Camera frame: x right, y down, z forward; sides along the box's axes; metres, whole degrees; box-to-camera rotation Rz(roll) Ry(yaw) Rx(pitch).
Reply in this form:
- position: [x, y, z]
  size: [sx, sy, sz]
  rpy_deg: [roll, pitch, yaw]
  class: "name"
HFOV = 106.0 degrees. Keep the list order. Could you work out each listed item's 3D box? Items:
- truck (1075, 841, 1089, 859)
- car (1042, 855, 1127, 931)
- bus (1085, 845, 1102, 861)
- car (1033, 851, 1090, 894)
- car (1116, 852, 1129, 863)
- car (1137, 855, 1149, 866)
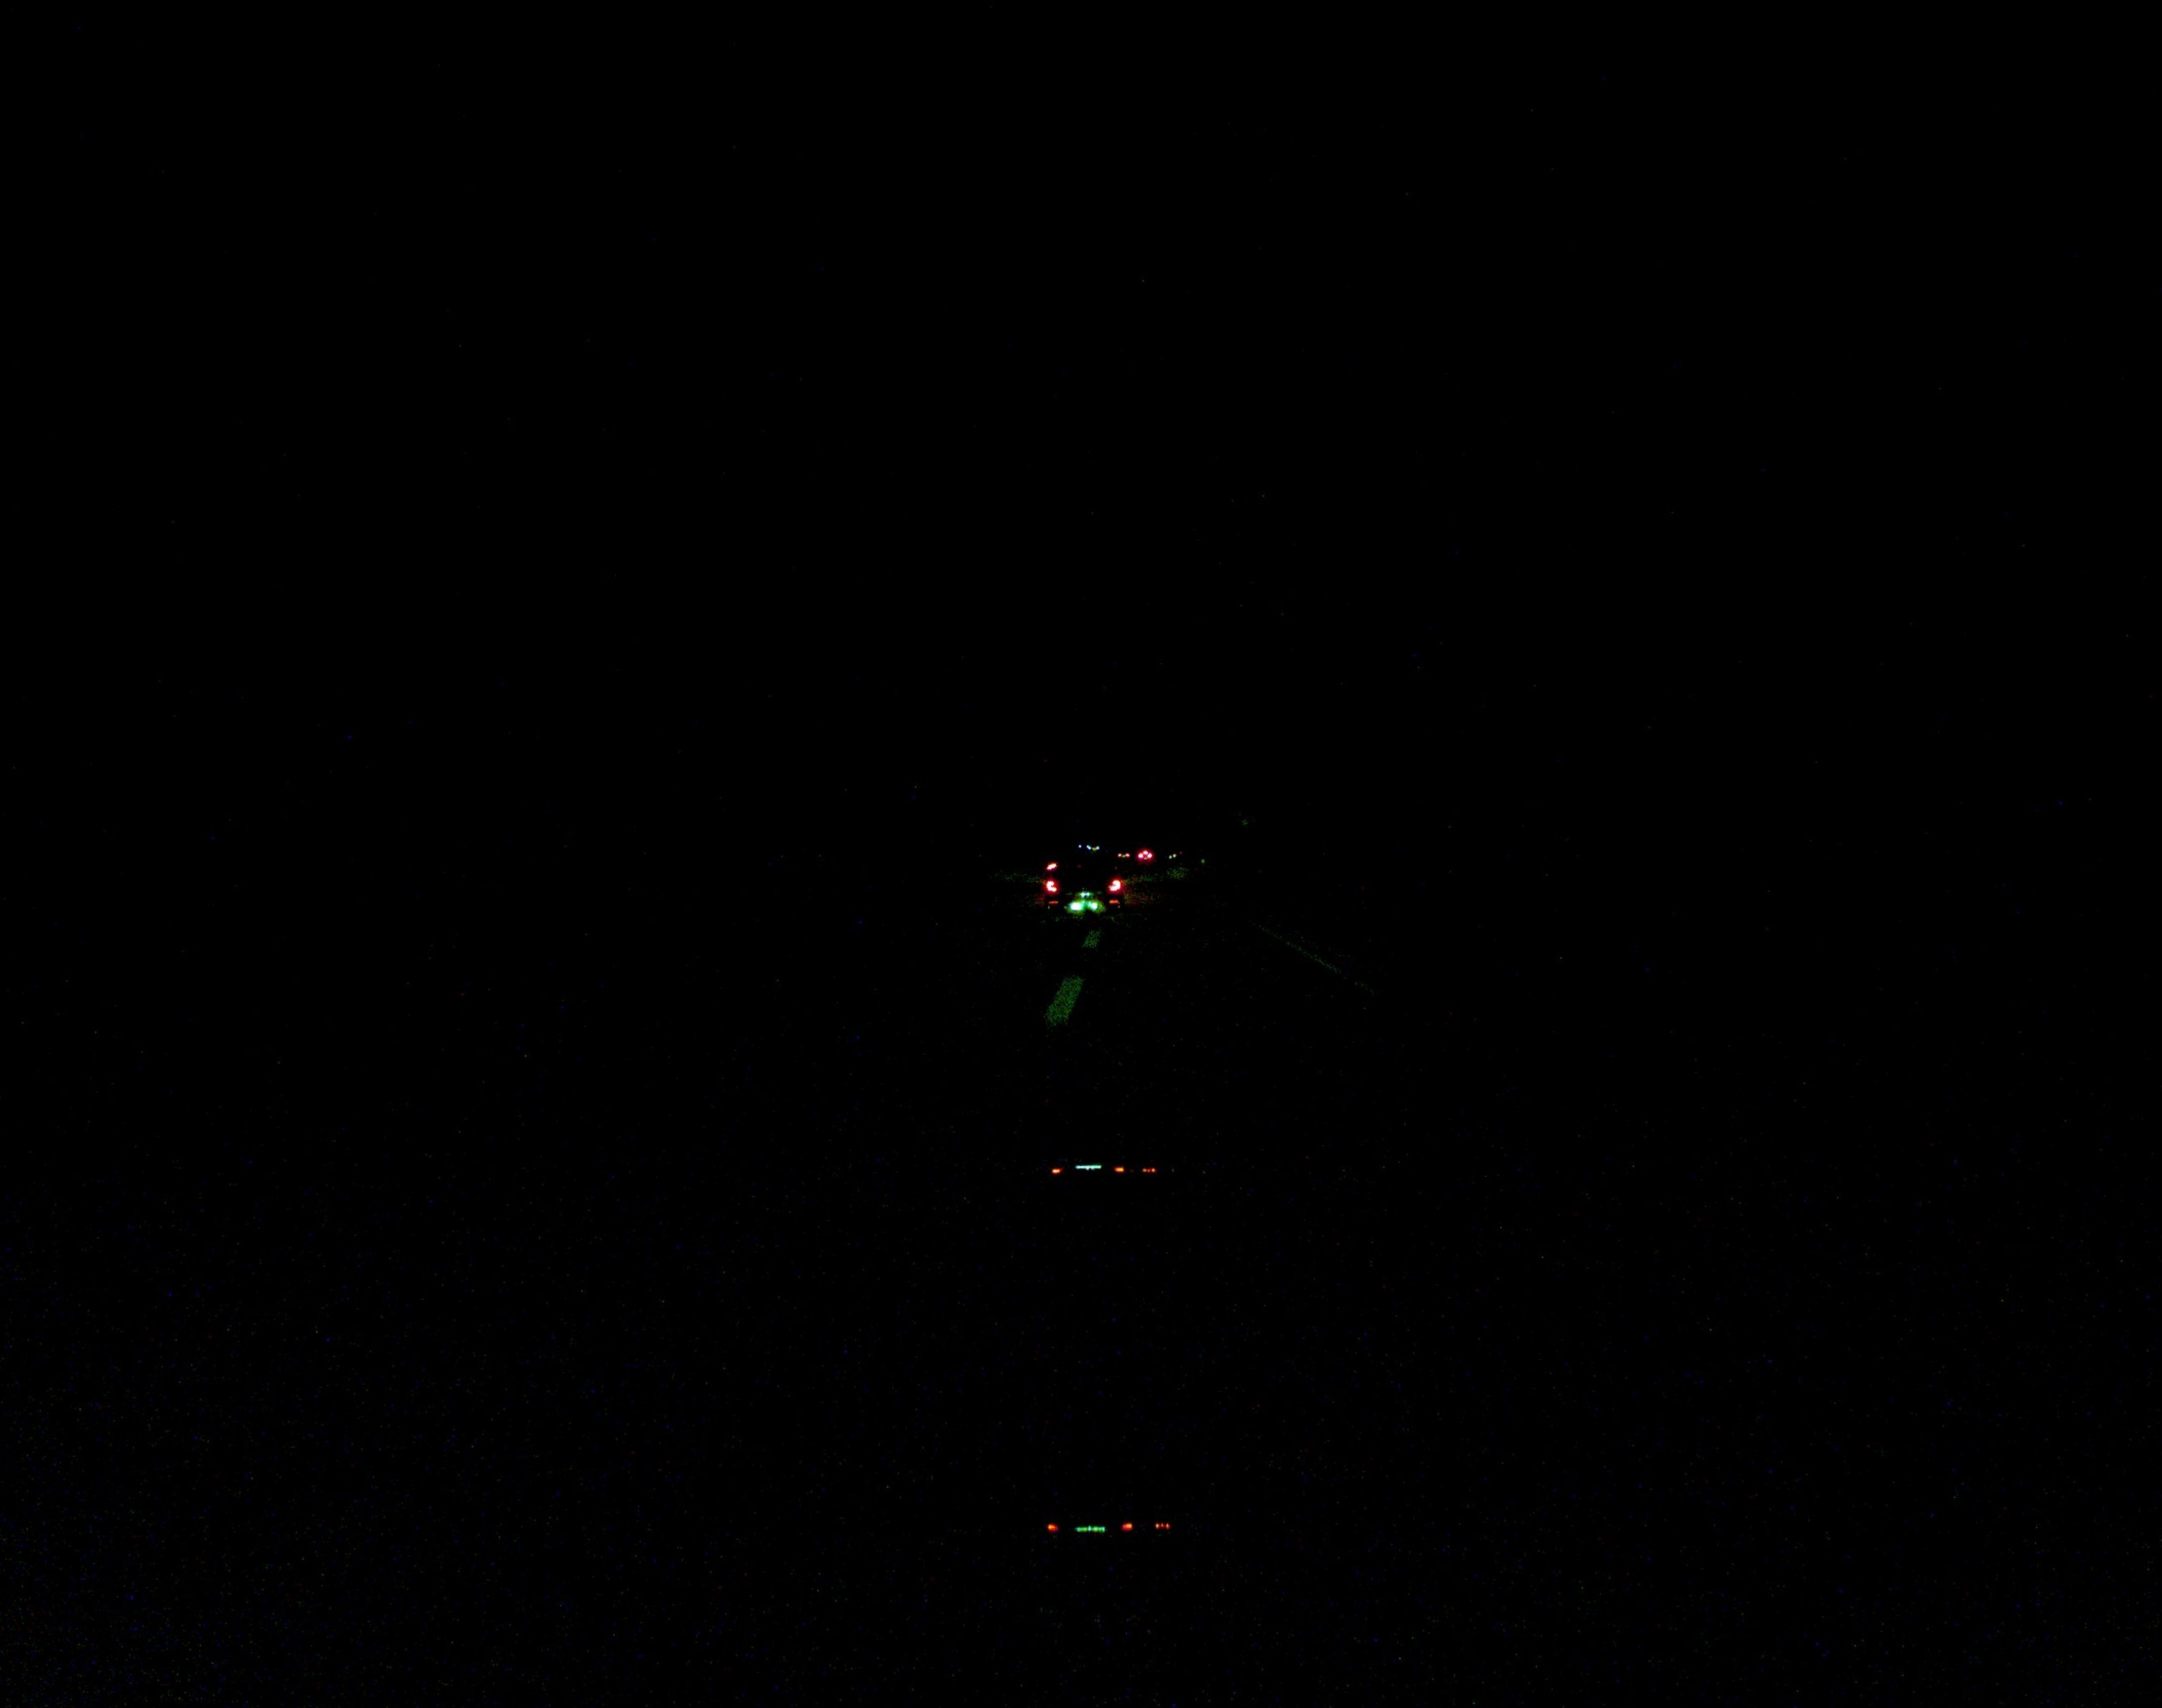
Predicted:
- position: [0.283, -1.027, 195.767]
  size: [2.663, 4.177, 5.877]
  rpy_deg: [-1, 0, 5]
  class: "truck"
- position: [0.057, 0.772, 18.137]
  size: [1.686, 1.478, 3.999]
  rpy_deg: [0, 0, 0]
  class: "car"
- position: [2.975, -0.277, 185.968]
  size: [2.910, 3.387, 12.325]
  rpy_deg: [-1, 1, 5]
  class: "bus"
- position: [-0.708, 0.710, 33.611]
  size: [1.932, 1.608, 4.648]
  rpy_deg: [0, 0, 4]
  class: "car"
- position: [6.869, 0.522, 133.947]
  size: [1.943, 1.538, 4.245]
  rpy_deg: [-5, -2, 4]
  class: "car"
- position: [9.631, 1.012, 126.847]
  size: [1.726, 1.618, 3.801]
  rpy_deg: [-1, 0, 2]
  class: "car"
